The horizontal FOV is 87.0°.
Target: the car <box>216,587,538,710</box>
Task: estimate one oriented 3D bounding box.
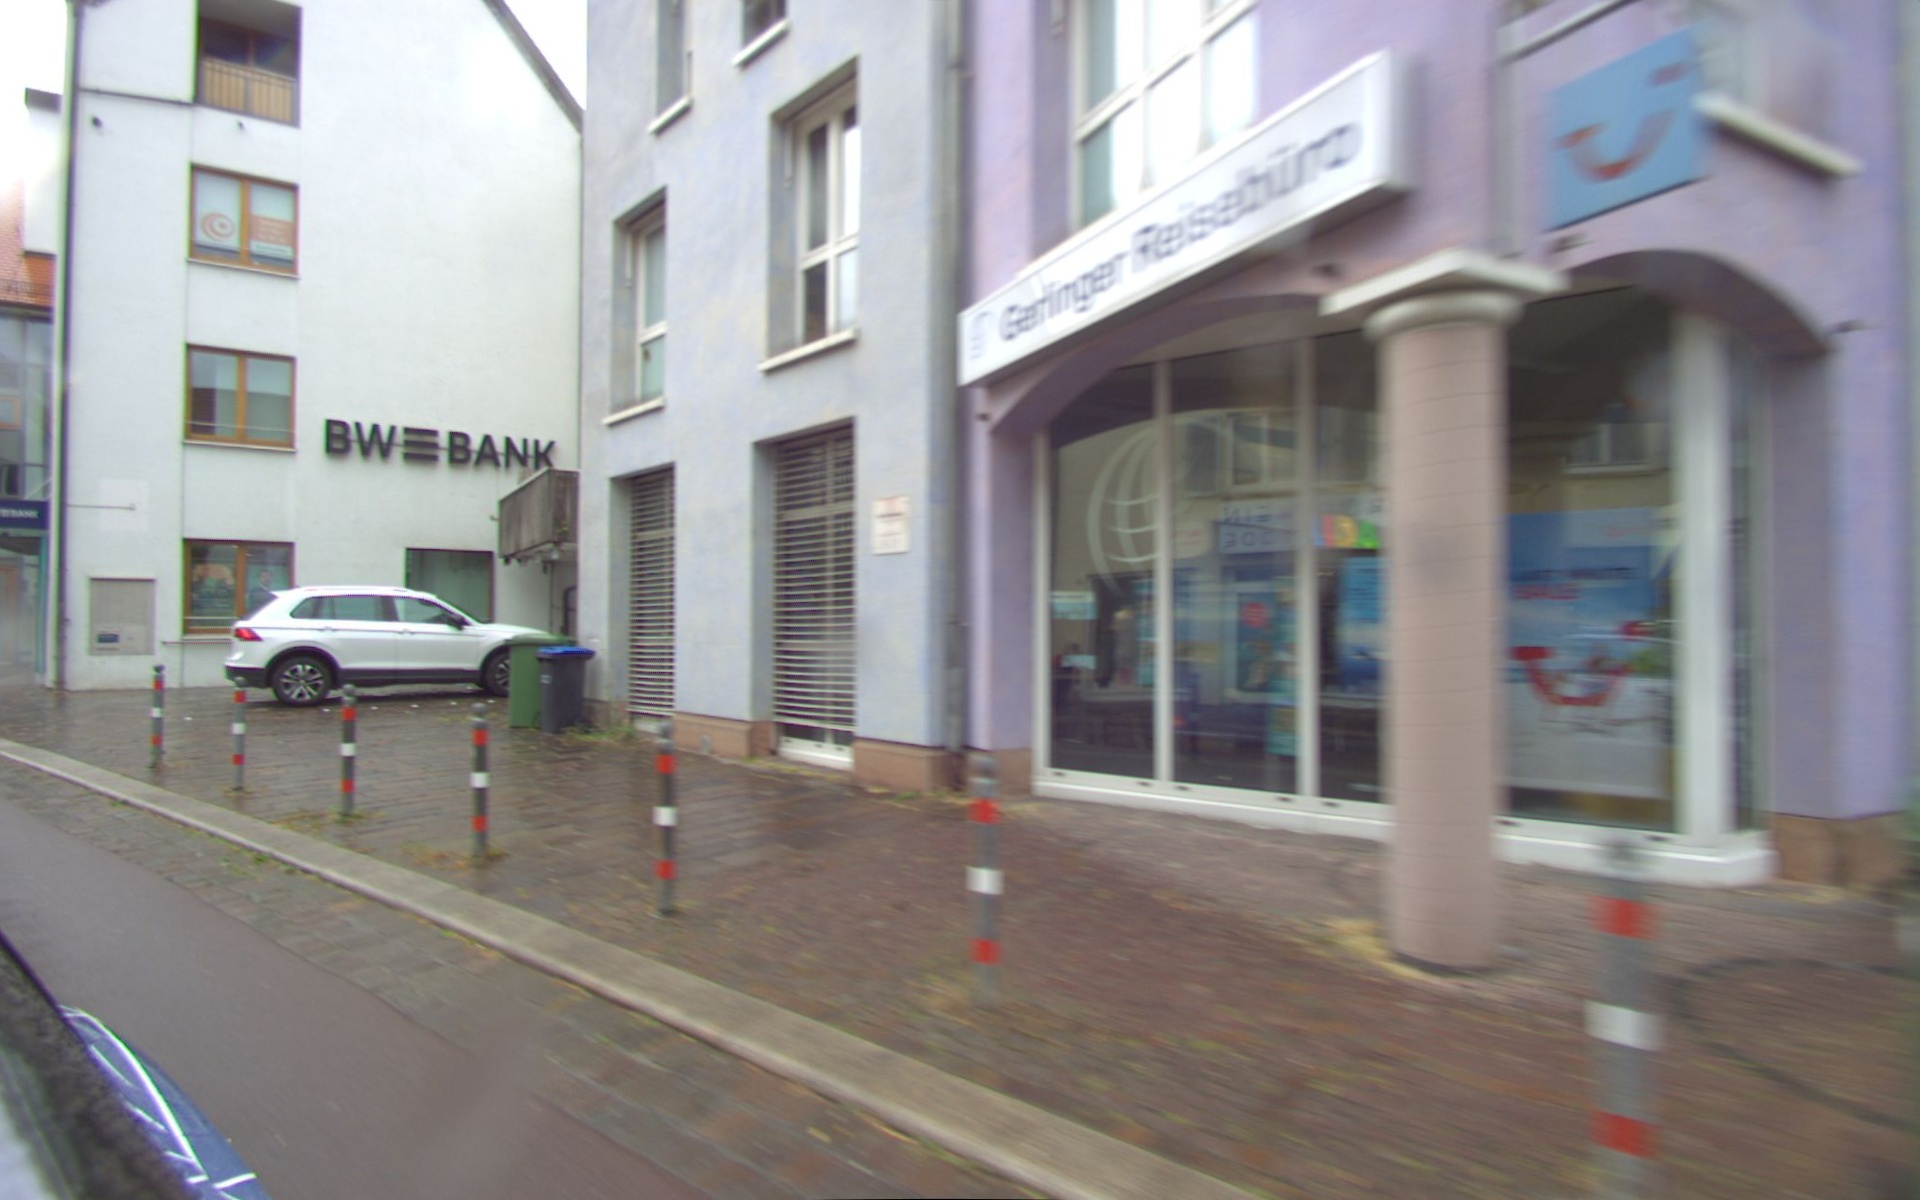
[{"bbox_3d":[-8.561,0.641,15.040,3.932,1.595,1.838,1,0,-34],"label":"car"}]

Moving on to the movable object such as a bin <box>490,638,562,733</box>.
[{"bbox_3d":[-4.871,0.947,11.370,0.569,0.996,0.485,1,0,20],"label":"movable object such as a bin"}]

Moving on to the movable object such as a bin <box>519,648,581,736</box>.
[{"bbox_3d":[-4.448,0.986,10.992,0.449,0.902,0.455,1,0,38],"label":"movable object such as a bin"}]
